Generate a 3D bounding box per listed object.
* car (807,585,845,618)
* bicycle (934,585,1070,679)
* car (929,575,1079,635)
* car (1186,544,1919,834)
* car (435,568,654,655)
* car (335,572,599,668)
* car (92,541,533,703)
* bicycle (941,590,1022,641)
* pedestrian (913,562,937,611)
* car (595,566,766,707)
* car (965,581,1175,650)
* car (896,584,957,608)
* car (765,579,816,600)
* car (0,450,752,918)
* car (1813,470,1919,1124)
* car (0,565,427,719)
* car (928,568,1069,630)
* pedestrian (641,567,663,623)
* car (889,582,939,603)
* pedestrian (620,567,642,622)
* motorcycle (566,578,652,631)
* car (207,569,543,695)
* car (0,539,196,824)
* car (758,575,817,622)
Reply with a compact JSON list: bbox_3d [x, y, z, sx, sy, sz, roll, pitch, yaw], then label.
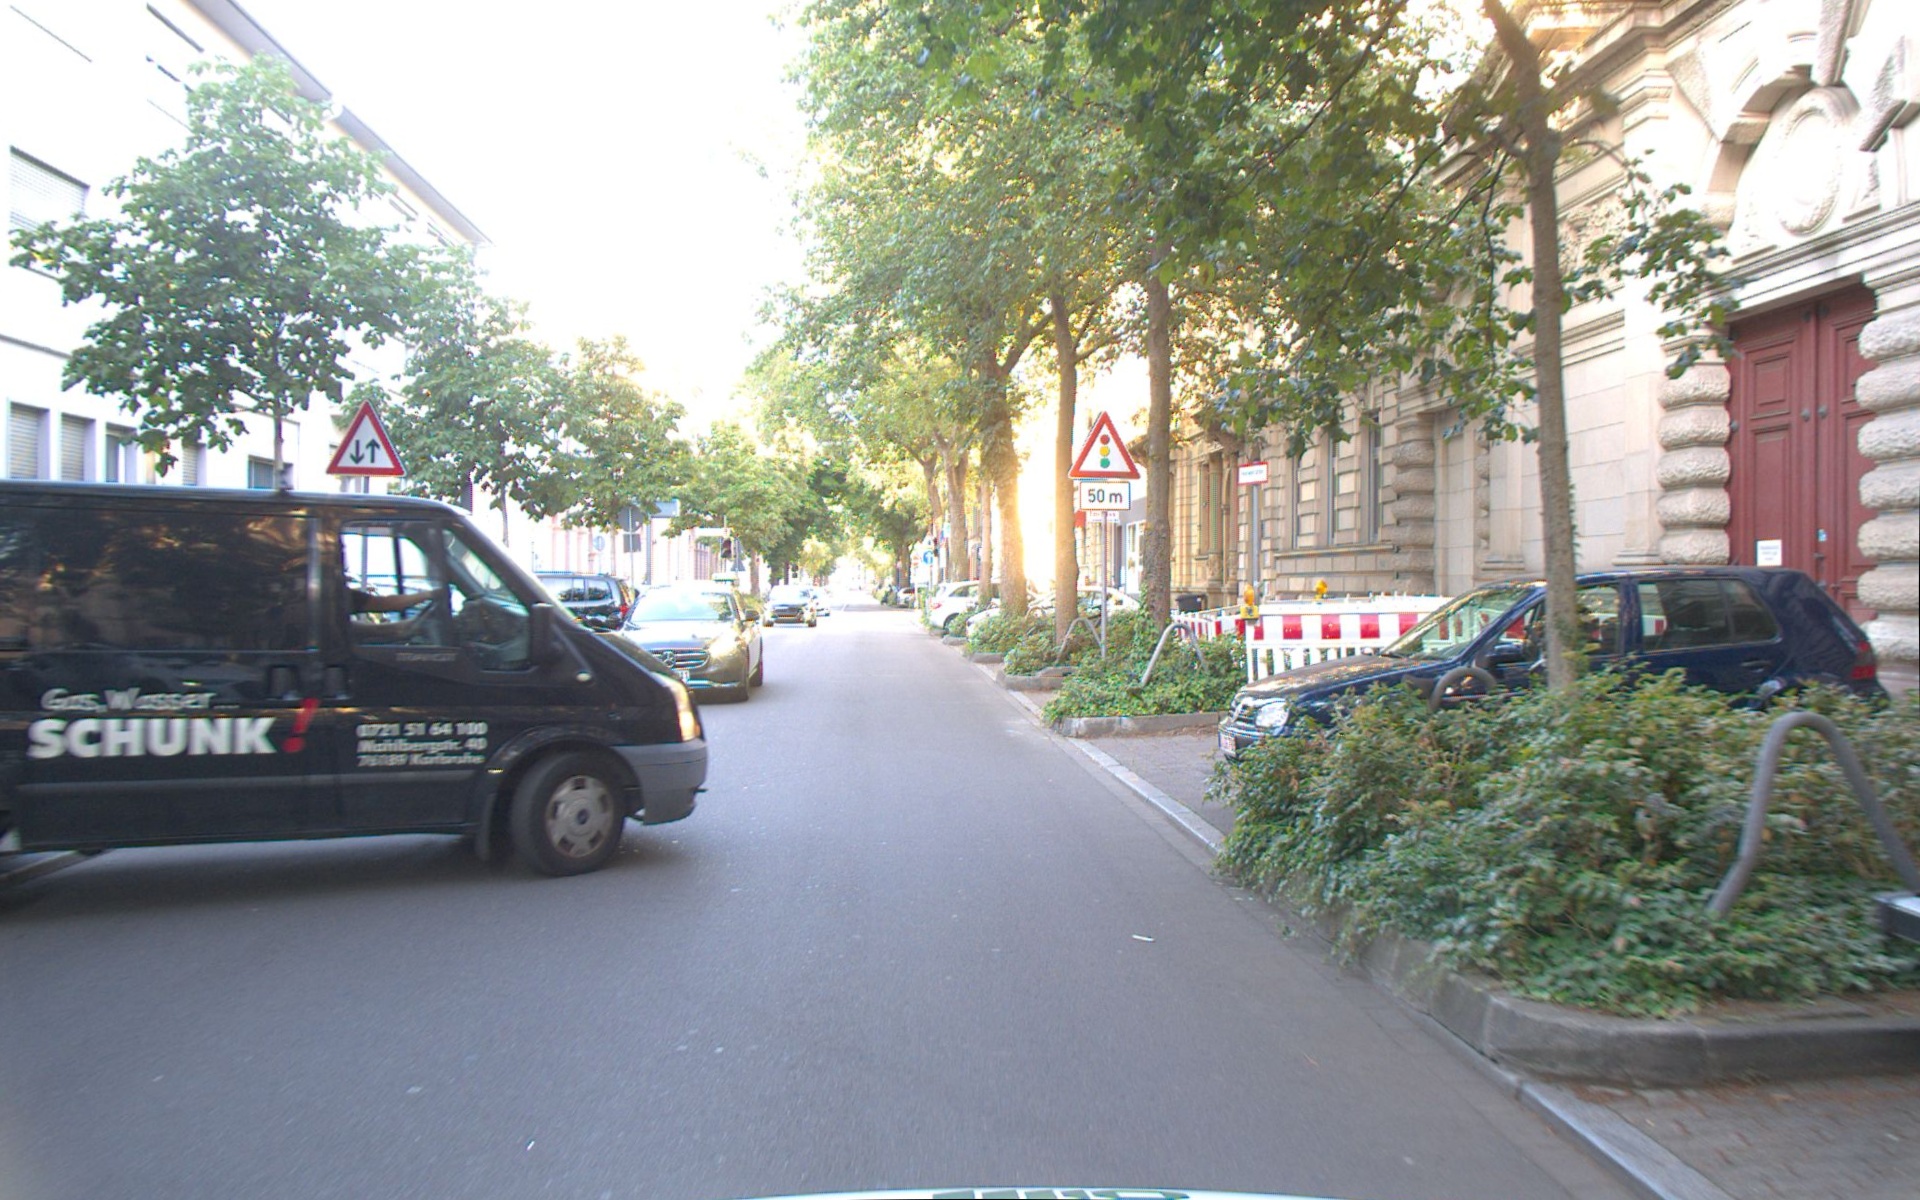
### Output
[{"bbox_3d":[-6.729,0.064,83.040,1.840,1.576,4.271,-1,1,-5],"label":"car"},{"bbox_3d":[0.634,0.486,25.338,2.006,1.384,0.508,2,0,-6],"label":"bicycle"},{"bbox_3d":[1.212,0.124,46.779,4.138,1.587,1.971,-1,1,-1],"label":"car"},{"bbox_3d":[3.699,0.500,10.618,4.140,1.507,1.853,-3,1,-4],"label":"car"},{"bbox_3d":[-8.465,0.220,33.971,4.011,1.660,1.935,1,0,-3],"label":"car"},{"bbox_3d":[-8.426,0.328,28.514,3.993,1.465,1.754,2,0,-3],"label":"car"},{"bbox_3d":[-7.826,0.256,20.414,4.574,1.796,2.155,1,0,-4],"label":"car"},{"bbox_3d":[0.548,0.380,42.007,1.987,1.225,0.486,-2,0,-16],"label":"bicycle"},{"bbox_3d":[-1.613,-0.617,76.478,1.022,2.184,1.063,1,-1,-3],"label":"pedestrian"},{"bbox_3d":[-3.629,0.409,22.209,1.840,1.669,4.642,-1,1,-5],"label":"car"},{"bbox_3d":[2.378,0.313,36.563,4.491,1.462,1.925,0,1,-2],"label":"car"},{"bbox_3d":[-2.288,-0.285,112.842,4.109,1.506,1.851,-1,1,-4],"label":"car"},{"bbox_3d":[-17.002,-1.078,165.849,4.964,2.119,2.261,0,1,-4],"label":"car"},{"bbox_3d":[-3.764,0.334,8.576,4.929,2.025,2.171,-1,1,-26],"label":"car"},{"bbox_3d":[4.496,0.508,4.073,3.928,1.716,1.764,0,1,-4],"label":"car"},{"bbox_3d":[-7.904,0.418,17.769,3.769,1.476,1.854,1,1,-4],"label":"car"},{"bbox_3d":[1.234,-0.042,54.403,4.453,1.948,1.948,-1,0,-6],"label":"car"},{"bbox_3d":[-10.539,-0.175,56.646,0.542,1.883,0.612,0,0,11],"label":"pedestrian"},{"bbox_3d":[-3.746,-0.625,133.942,3.936,1.651,1.779,0,0,-5],"label":"car"},{"bbox_3d":[-11.288,-0.180,56.754,0.542,1.883,0.612,0,0,11],"label":"pedestrian"},{"bbox_3d":[-9.660,0.119,45.499,2.103,1.444,0.968,0,0,18],"label":"motorcycle"},{"bbox_3d":[-7.977,0.422,22.817,3.946,1.520,1.780,2,0,0],"label":"car"},{"bbox_3d":[-7.332,0.348,10.198,4.268,1.600,1.929,3,0,-4],"label":"car"},{"bbox_3d":[-5.995,-0.075,57.795,1.840,1.576,4.272,-1,1,-4],"label":"car"}]
